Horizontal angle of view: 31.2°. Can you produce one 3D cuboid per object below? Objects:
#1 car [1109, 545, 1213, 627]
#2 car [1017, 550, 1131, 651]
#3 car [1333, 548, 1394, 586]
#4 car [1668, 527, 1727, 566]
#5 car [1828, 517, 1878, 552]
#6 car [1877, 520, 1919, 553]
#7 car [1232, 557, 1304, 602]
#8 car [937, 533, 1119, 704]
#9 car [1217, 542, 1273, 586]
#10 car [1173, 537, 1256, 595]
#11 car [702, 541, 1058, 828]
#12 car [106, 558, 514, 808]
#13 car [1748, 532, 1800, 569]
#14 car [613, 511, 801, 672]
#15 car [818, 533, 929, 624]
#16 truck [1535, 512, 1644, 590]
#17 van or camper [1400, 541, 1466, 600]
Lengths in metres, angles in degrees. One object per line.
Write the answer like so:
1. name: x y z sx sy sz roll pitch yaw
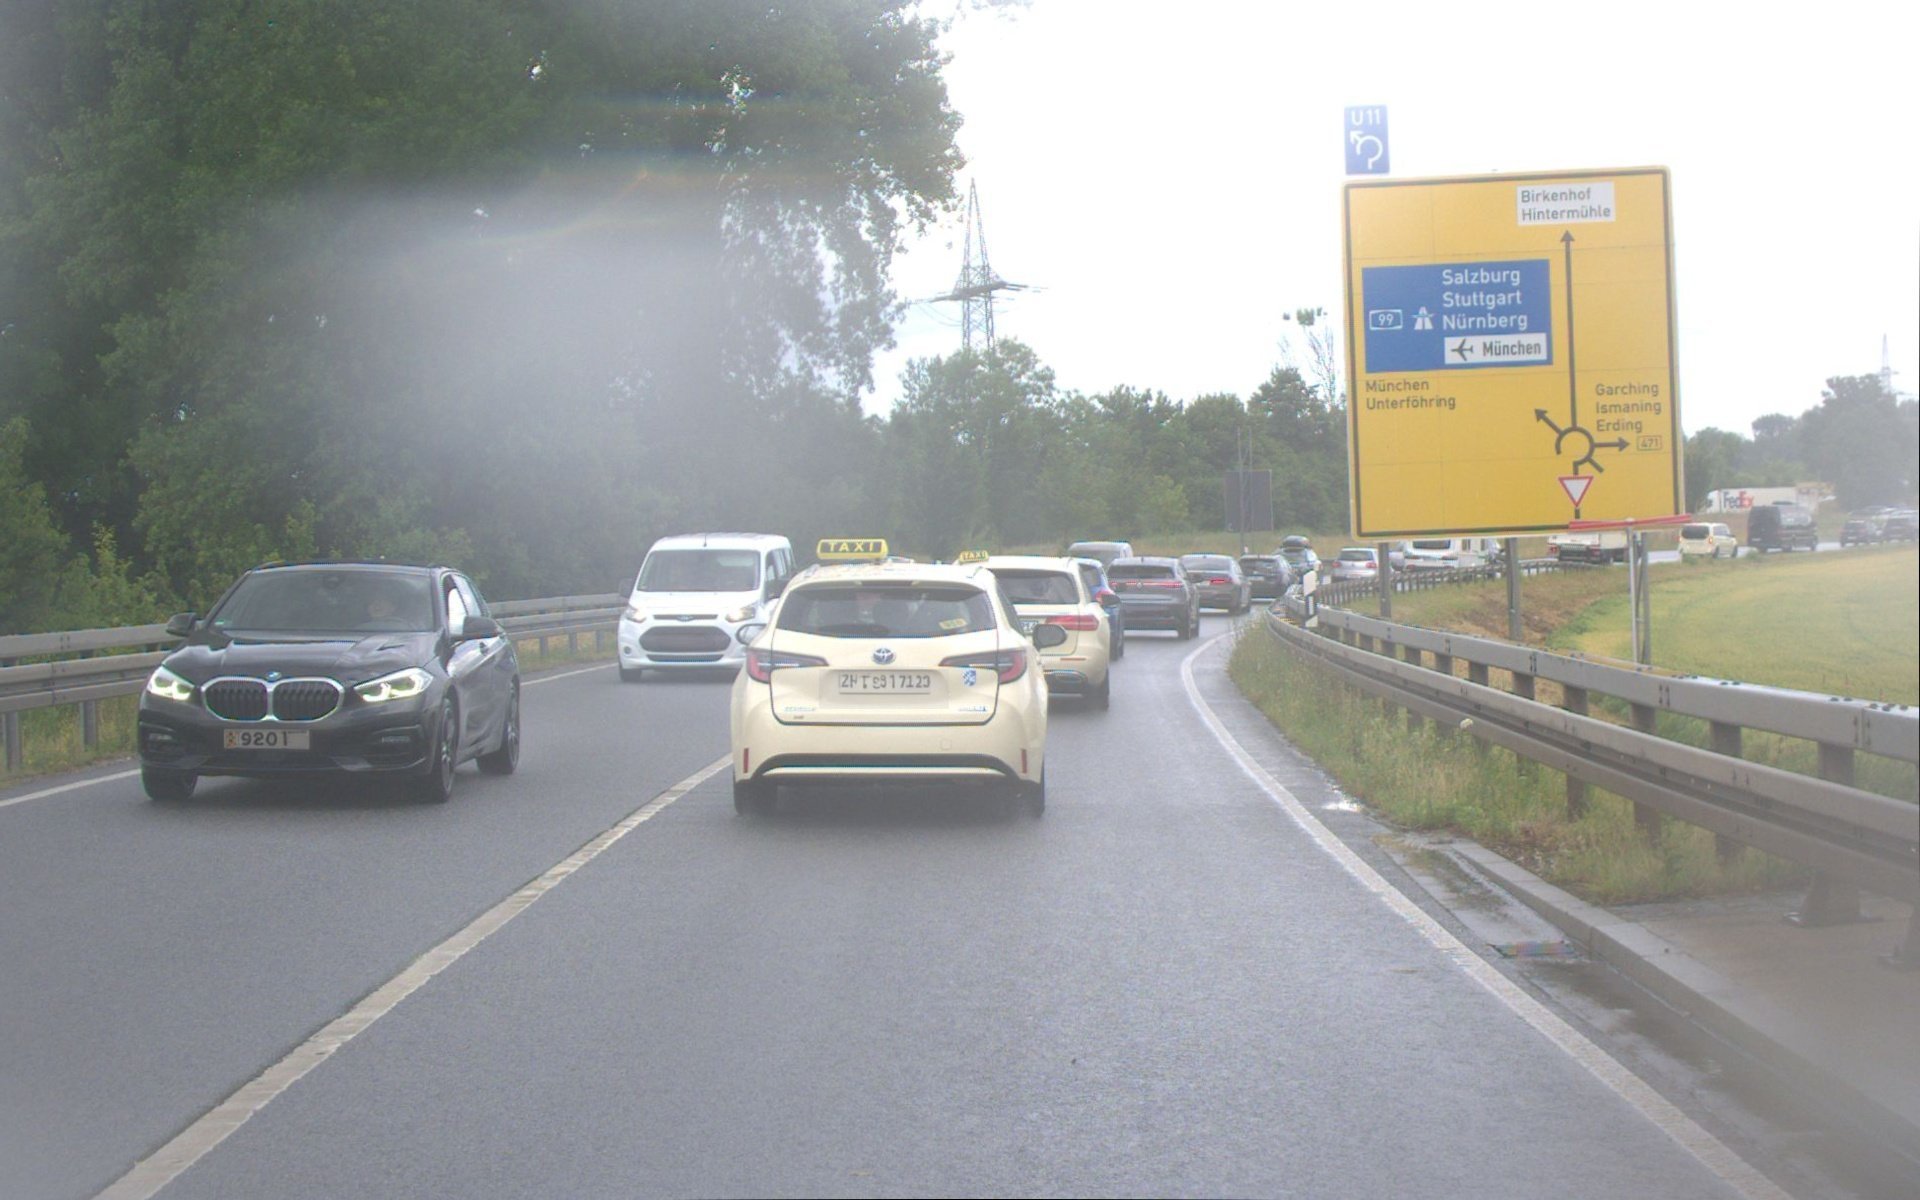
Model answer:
1. car: 3.702 -0.269 62.975 1.665 1.459 3.476 0 1 7
2. car: 1.651 -0.014 50.547 1.506 1.432 3.356 0 1 -1
3. car: 14.040 -1.144 119.560 1.484 1.304 3.474 0 1 18
4. car: 38.866 -2.794 181.170 2.169 2.007 3.994 1 0 25
5. car: 53.242 -3.895 204.921 2.229 2.007 3.995 1 0 25
6. car: 58.064 -3.930 212.580 1.996 2.007 3.995 1 0 25
7. car: 9.097 -0.615 101.368 1.483 1.304 3.474 0 1 15
8. car: 0.707 0.147 33.442 1.578 1.567 3.681 0 1 4
9. car: 11.119 -1.393 133.831 1.518 1.715 3.418 1 0 16
10. car: 6.432 -0.845 86.518 1.661 1.404 3.902 0 0 11
11. car: -0.390 0.429 20.515 1.906 1.532 4.161 0 1 1
12. car: -3.929 0.443 21.458 1.696 1.395 4.332 0 1 0
13. car: 45.471 -2.735 192.020 1.996 2.007 3.994 1 0 26
14. car: -3.070 -0.155 42.499 1.861 1.885 4.490 0 1 2
15. car: -1.489 -0.409 60.351 1.610 1.481 4.000 0 2 3
16. truck: 29.715 -2.273 162.116 3.144 3.550 7.511 1 0 26
17. van or camper: 18.504 -1.149 134.413 1.995 2.246 3.997 1 0 16
